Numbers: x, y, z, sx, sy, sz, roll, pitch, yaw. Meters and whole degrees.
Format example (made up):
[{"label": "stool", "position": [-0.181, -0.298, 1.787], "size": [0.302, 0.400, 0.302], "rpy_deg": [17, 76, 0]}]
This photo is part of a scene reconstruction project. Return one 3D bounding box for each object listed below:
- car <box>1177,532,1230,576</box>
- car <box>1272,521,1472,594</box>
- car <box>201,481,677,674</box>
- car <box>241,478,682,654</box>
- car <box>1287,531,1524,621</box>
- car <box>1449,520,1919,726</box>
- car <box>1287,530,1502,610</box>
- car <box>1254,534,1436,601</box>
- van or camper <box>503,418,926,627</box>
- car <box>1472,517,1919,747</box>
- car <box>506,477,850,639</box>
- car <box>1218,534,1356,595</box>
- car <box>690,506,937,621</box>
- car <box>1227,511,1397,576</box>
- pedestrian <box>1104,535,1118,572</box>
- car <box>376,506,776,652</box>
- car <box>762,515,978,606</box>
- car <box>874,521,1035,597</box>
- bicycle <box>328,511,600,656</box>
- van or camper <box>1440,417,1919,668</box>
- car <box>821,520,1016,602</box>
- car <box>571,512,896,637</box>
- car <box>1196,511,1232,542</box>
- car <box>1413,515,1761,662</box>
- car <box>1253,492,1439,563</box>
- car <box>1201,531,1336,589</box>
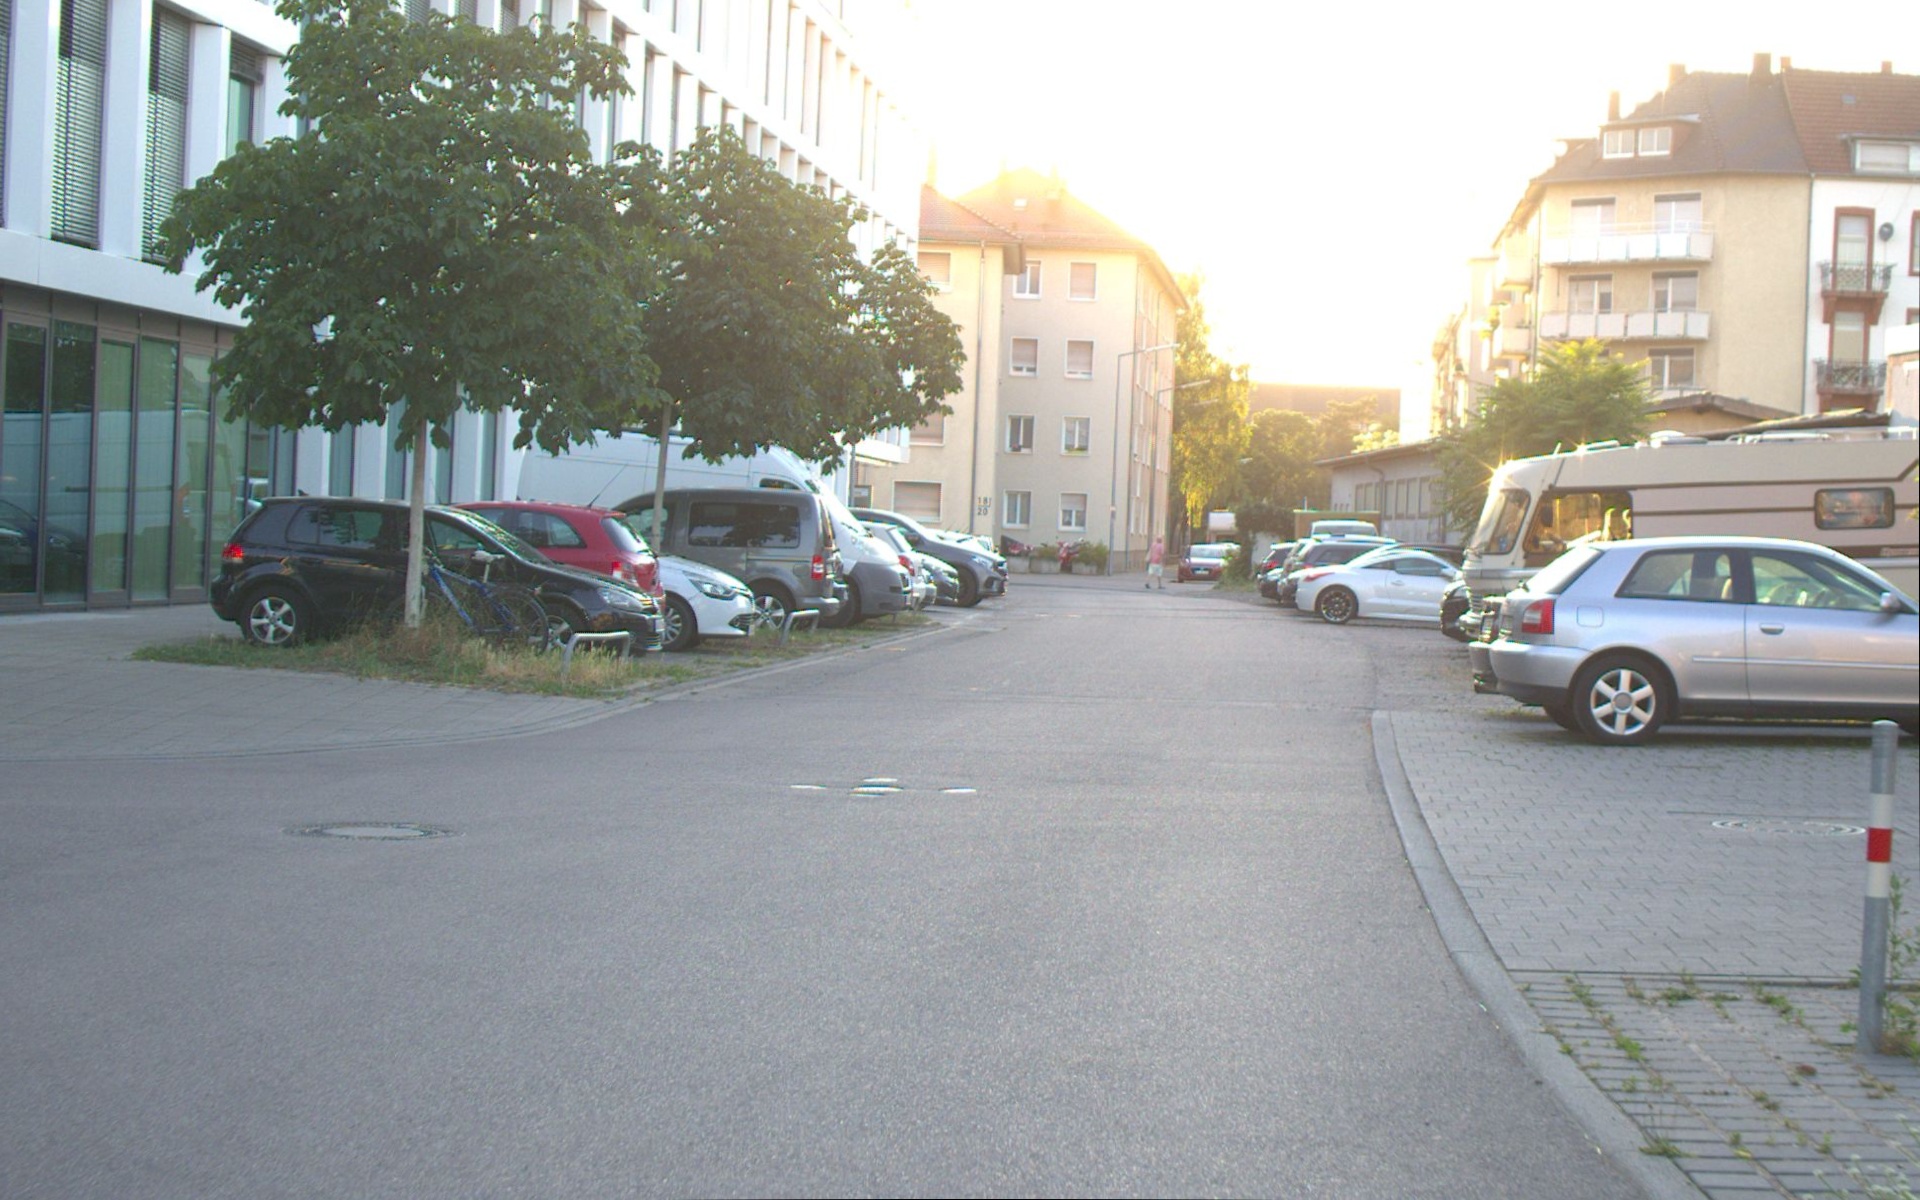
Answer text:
[{"label": "car", "position": [9.312, -1.765, 131.526], "size": [1.950, 1.579, 3.640], "rpy_deg": [2, 1, 4]}, {"label": "car", "position": [8.756, -0.916, 73.278], "size": [4.050, 1.474, 1.768], "rpy_deg": [1, 2, 1]}, {"label": "car", "position": [-4.819, -0.240, 32.116], "size": [4.050, 1.474, 1.768], "rpy_deg": [4, 3, 3]}, {"label": "car", "position": [-5.026, -0.358, 34.944], "size": [4.051, 1.474, 1.767], "rpy_deg": [4, 1, 6]}, {"label": "car", "position": [7.803, -0.436, 60.454], "size": [4.051, 1.474, 1.767], "rpy_deg": [1, 2, 6]}, {"label": "car", "position": [5.941, 0.155, 26.611], "size": [4.050, 1.474, 1.768], "rpy_deg": [1, 2, 1]}, {"label": "car", "position": [8.606, -0.609, 68.333], "size": [4.050, 1.474, 1.768], "rpy_deg": [1, 2, 1]}, {"label": "car", "position": [8.988, -0.773, 80.439], "size": [4.050, 1.474, 1.768], "rpy_deg": [1, 2, 1]}, {"label": "van or camper", "position": [-3.347, -1.088, 47.351], "size": [5.453, 2.475, 1.775], "rpy_deg": [4, 2, 6]}, {"label": "car", "position": [5.751, 0.204, 24.082], "size": [4.050, 1.474, 1.768], "rpy_deg": [1, 2, 1]}, {"label": "car", "position": [-3.440, -0.542, 42.390], "size": [4.050, 1.901, 1.736], "rpy_deg": [1, 2, 2]}, {"label": "car", "position": [9.323, -1.017, 98.314], "size": [3.786, 1.638, 1.696], "rpy_deg": [1, 2, 1]}, {"label": "car", "position": [-2.202, -0.561, 52.138], "size": [3.560, 1.646, 1.458], "rpy_deg": [1, 2, 6]}, {"label": "car", "position": [9.388, -1.510, 91.886], "size": [4.342, 1.638, 1.816], "rpy_deg": [1, 2, 1]}, {"label": "pedestrian", "position": [5.710, -1.761, 129.893], "size": [0.501, 1.374, 0.454], "rpy_deg": [2, 1, 3]}, {"label": "car", "position": [-4.155, -0.251, 37.540], "size": [4.051, 1.474, 1.767], "rpy_deg": [1, 2, 6]}, {"label": "car", "position": [-1.543, -0.686, 59.344], "size": [3.560, 1.474, 1.458], "rpy_deg": [1, 2, 6]}, {"label": "car", "position": [-0.093, -0.813, 67.882], "size": [3.015, 1.416, 1.458], "rpy_deg": [1, 2, 6]}, {"label": "bicycle", "position": [-4.320, -0.152, 30.020], "size": [2.179, 1.170, 0.811], "rpy_deg": [2, 1, 5]}, {"label": "van or camper", "position": [8.594, -0.699, 40.228], "size": [5.610, 2.780, 2.430], "rpy_deg": [1, 2, 2]}, {"label": "car", "position": [-0.776, -0.750, 65.491], "size": [3.560, 1.474, 1.458], "rpy_deg": [1, 2, 6]}, {"label": "car", "position": [-2.912, -0.348, 44.722], "size": [4.050, 1.519, 1.736], "rpy_deg": [1, 2, 2]}, {"label": "car", "position": [12.916, -3.739, 175.200], "size": [1.742, 1.520, 3.551], "rpy_deg": [2, 1, 4]}, {"label": "car", "position": [7.925, -0.162, 43.689], "size": [3.986, 1.681, 1.764], "rpy_deg": [2, 1, -3]}, {"label": "car", "position": [9.456, -1.788, 84.403], "size": [4.342, 1.638, 1.816], "rpy_deg": [1, 2, 1]}, {"label": "car", "position": [9.241, -1.213, 103.182], "size": [3.905, 1.638, 1.710], "rpy_deg": [1, 2, 1]}]
